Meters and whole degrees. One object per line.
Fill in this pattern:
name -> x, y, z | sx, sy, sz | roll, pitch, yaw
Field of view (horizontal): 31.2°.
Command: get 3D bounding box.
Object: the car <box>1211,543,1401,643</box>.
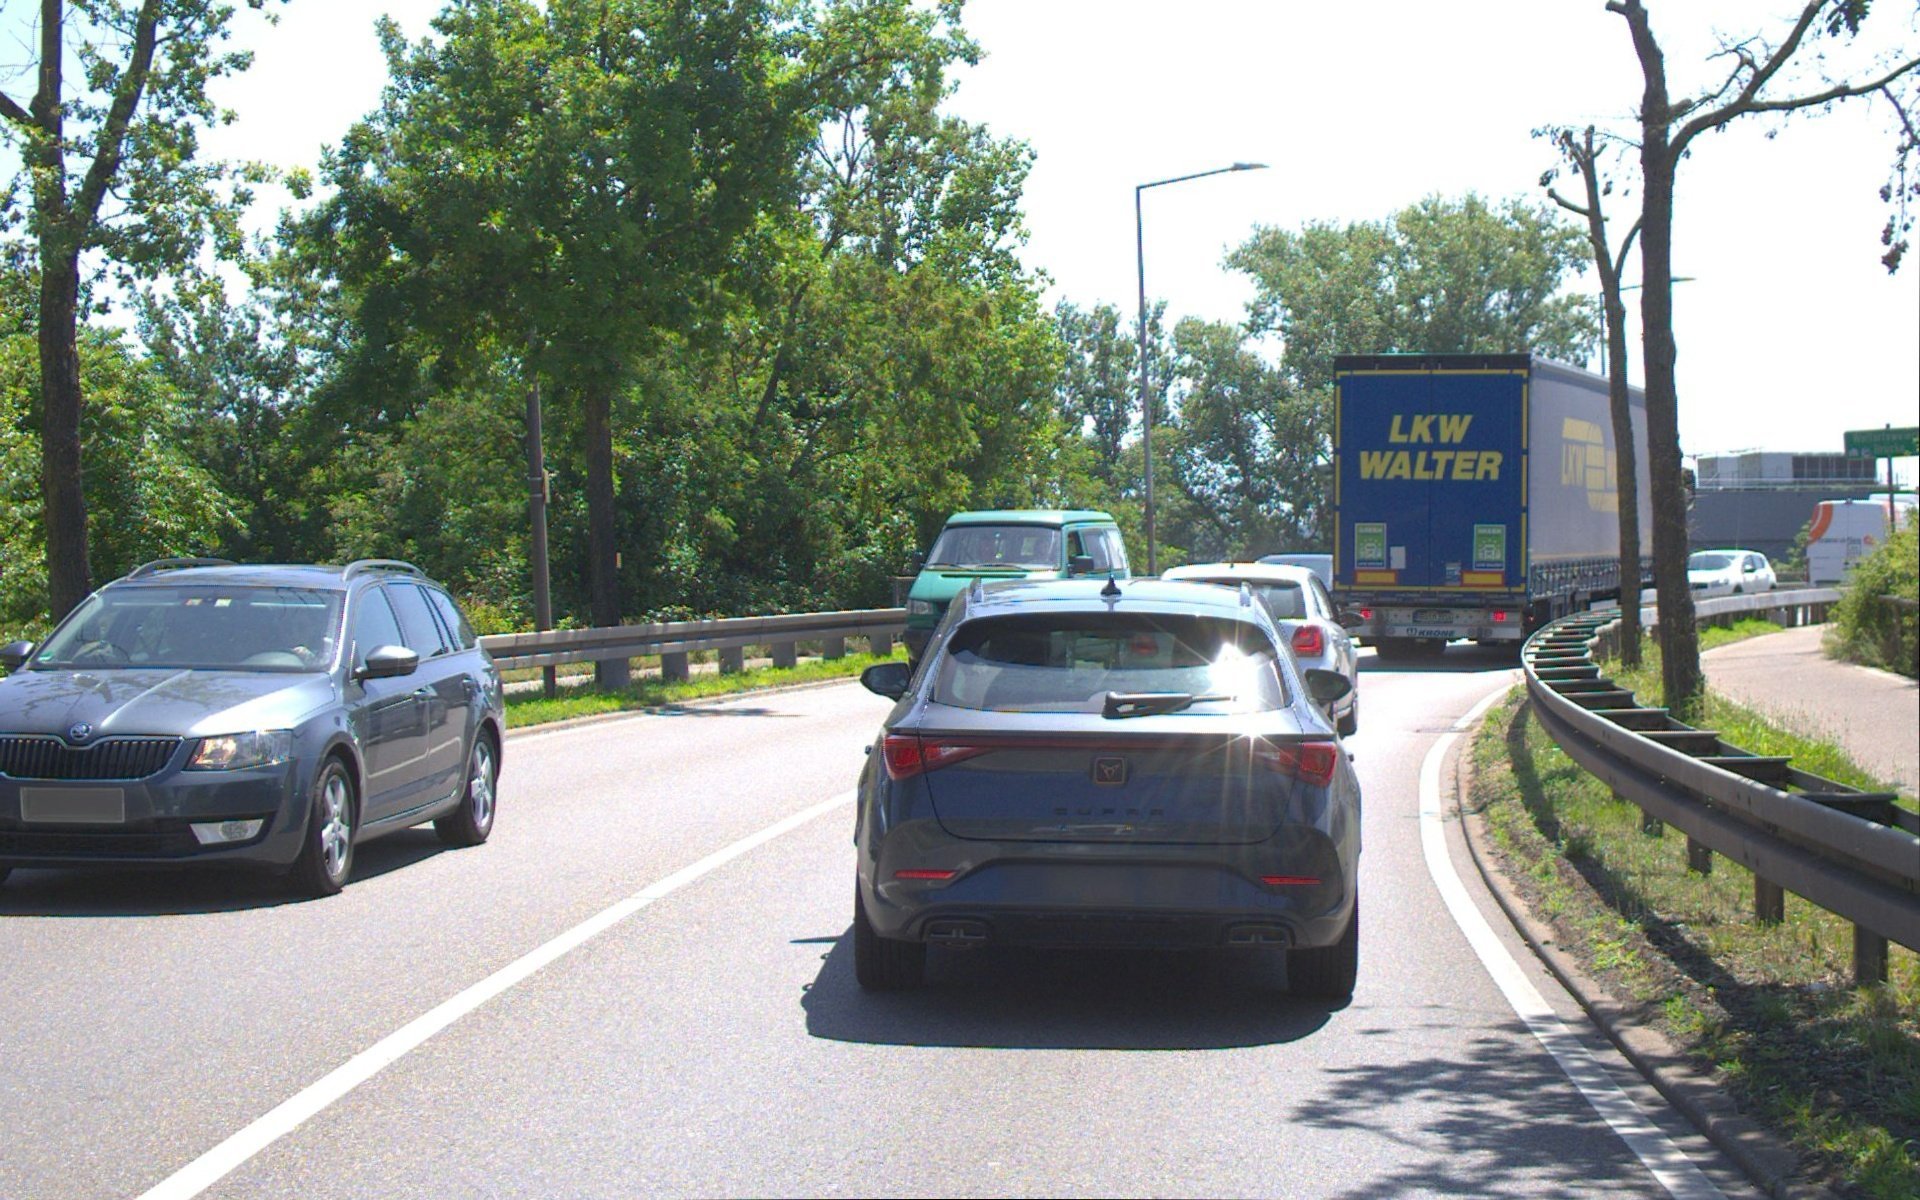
car -> 5.423, -0.137, 53.372 | 1.848, 1.462, 4.736 | 1, 1, 19

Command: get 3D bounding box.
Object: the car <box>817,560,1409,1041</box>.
car -> 0.410, 0.612, 12.753 | 1.845, 1.493, 3.758 | 0, 1, -3

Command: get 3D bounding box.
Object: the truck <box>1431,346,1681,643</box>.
truck -> 9.972, -1.659, 56.899 | 3.172, 4.569, 7.391 | 1, 0, 16

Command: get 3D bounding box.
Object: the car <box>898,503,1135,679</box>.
car -> 0.739, -0.139, 40.382 | 1.831, 1.932, 4.773 | 0, 1, 13

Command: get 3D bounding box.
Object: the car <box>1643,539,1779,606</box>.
car -> 17.757, -0.671, 81.161 | 2.019, 1.538, 3.754 | 1, 1, 31

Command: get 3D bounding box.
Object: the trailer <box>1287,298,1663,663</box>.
trailer -> 7.797, -1.608, 50.022 | 3.137, 4.598, 12.936 | 1, 1, 18

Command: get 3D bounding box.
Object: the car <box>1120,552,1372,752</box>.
car -> 2.339, 0.362, 27.434 | 1.594, 1.456, 3.543 | 1, 1, 11

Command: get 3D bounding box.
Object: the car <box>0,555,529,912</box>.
car -> -3.365, 0.515, 16.364 | 1.744, 1.442, 4.516 | 0, 1, 4

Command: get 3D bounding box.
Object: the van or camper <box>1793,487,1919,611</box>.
van or camper -> 20.679, -1.162, 78.319 | 2.206, 2.702, 5.918 | 0, 1, 25
